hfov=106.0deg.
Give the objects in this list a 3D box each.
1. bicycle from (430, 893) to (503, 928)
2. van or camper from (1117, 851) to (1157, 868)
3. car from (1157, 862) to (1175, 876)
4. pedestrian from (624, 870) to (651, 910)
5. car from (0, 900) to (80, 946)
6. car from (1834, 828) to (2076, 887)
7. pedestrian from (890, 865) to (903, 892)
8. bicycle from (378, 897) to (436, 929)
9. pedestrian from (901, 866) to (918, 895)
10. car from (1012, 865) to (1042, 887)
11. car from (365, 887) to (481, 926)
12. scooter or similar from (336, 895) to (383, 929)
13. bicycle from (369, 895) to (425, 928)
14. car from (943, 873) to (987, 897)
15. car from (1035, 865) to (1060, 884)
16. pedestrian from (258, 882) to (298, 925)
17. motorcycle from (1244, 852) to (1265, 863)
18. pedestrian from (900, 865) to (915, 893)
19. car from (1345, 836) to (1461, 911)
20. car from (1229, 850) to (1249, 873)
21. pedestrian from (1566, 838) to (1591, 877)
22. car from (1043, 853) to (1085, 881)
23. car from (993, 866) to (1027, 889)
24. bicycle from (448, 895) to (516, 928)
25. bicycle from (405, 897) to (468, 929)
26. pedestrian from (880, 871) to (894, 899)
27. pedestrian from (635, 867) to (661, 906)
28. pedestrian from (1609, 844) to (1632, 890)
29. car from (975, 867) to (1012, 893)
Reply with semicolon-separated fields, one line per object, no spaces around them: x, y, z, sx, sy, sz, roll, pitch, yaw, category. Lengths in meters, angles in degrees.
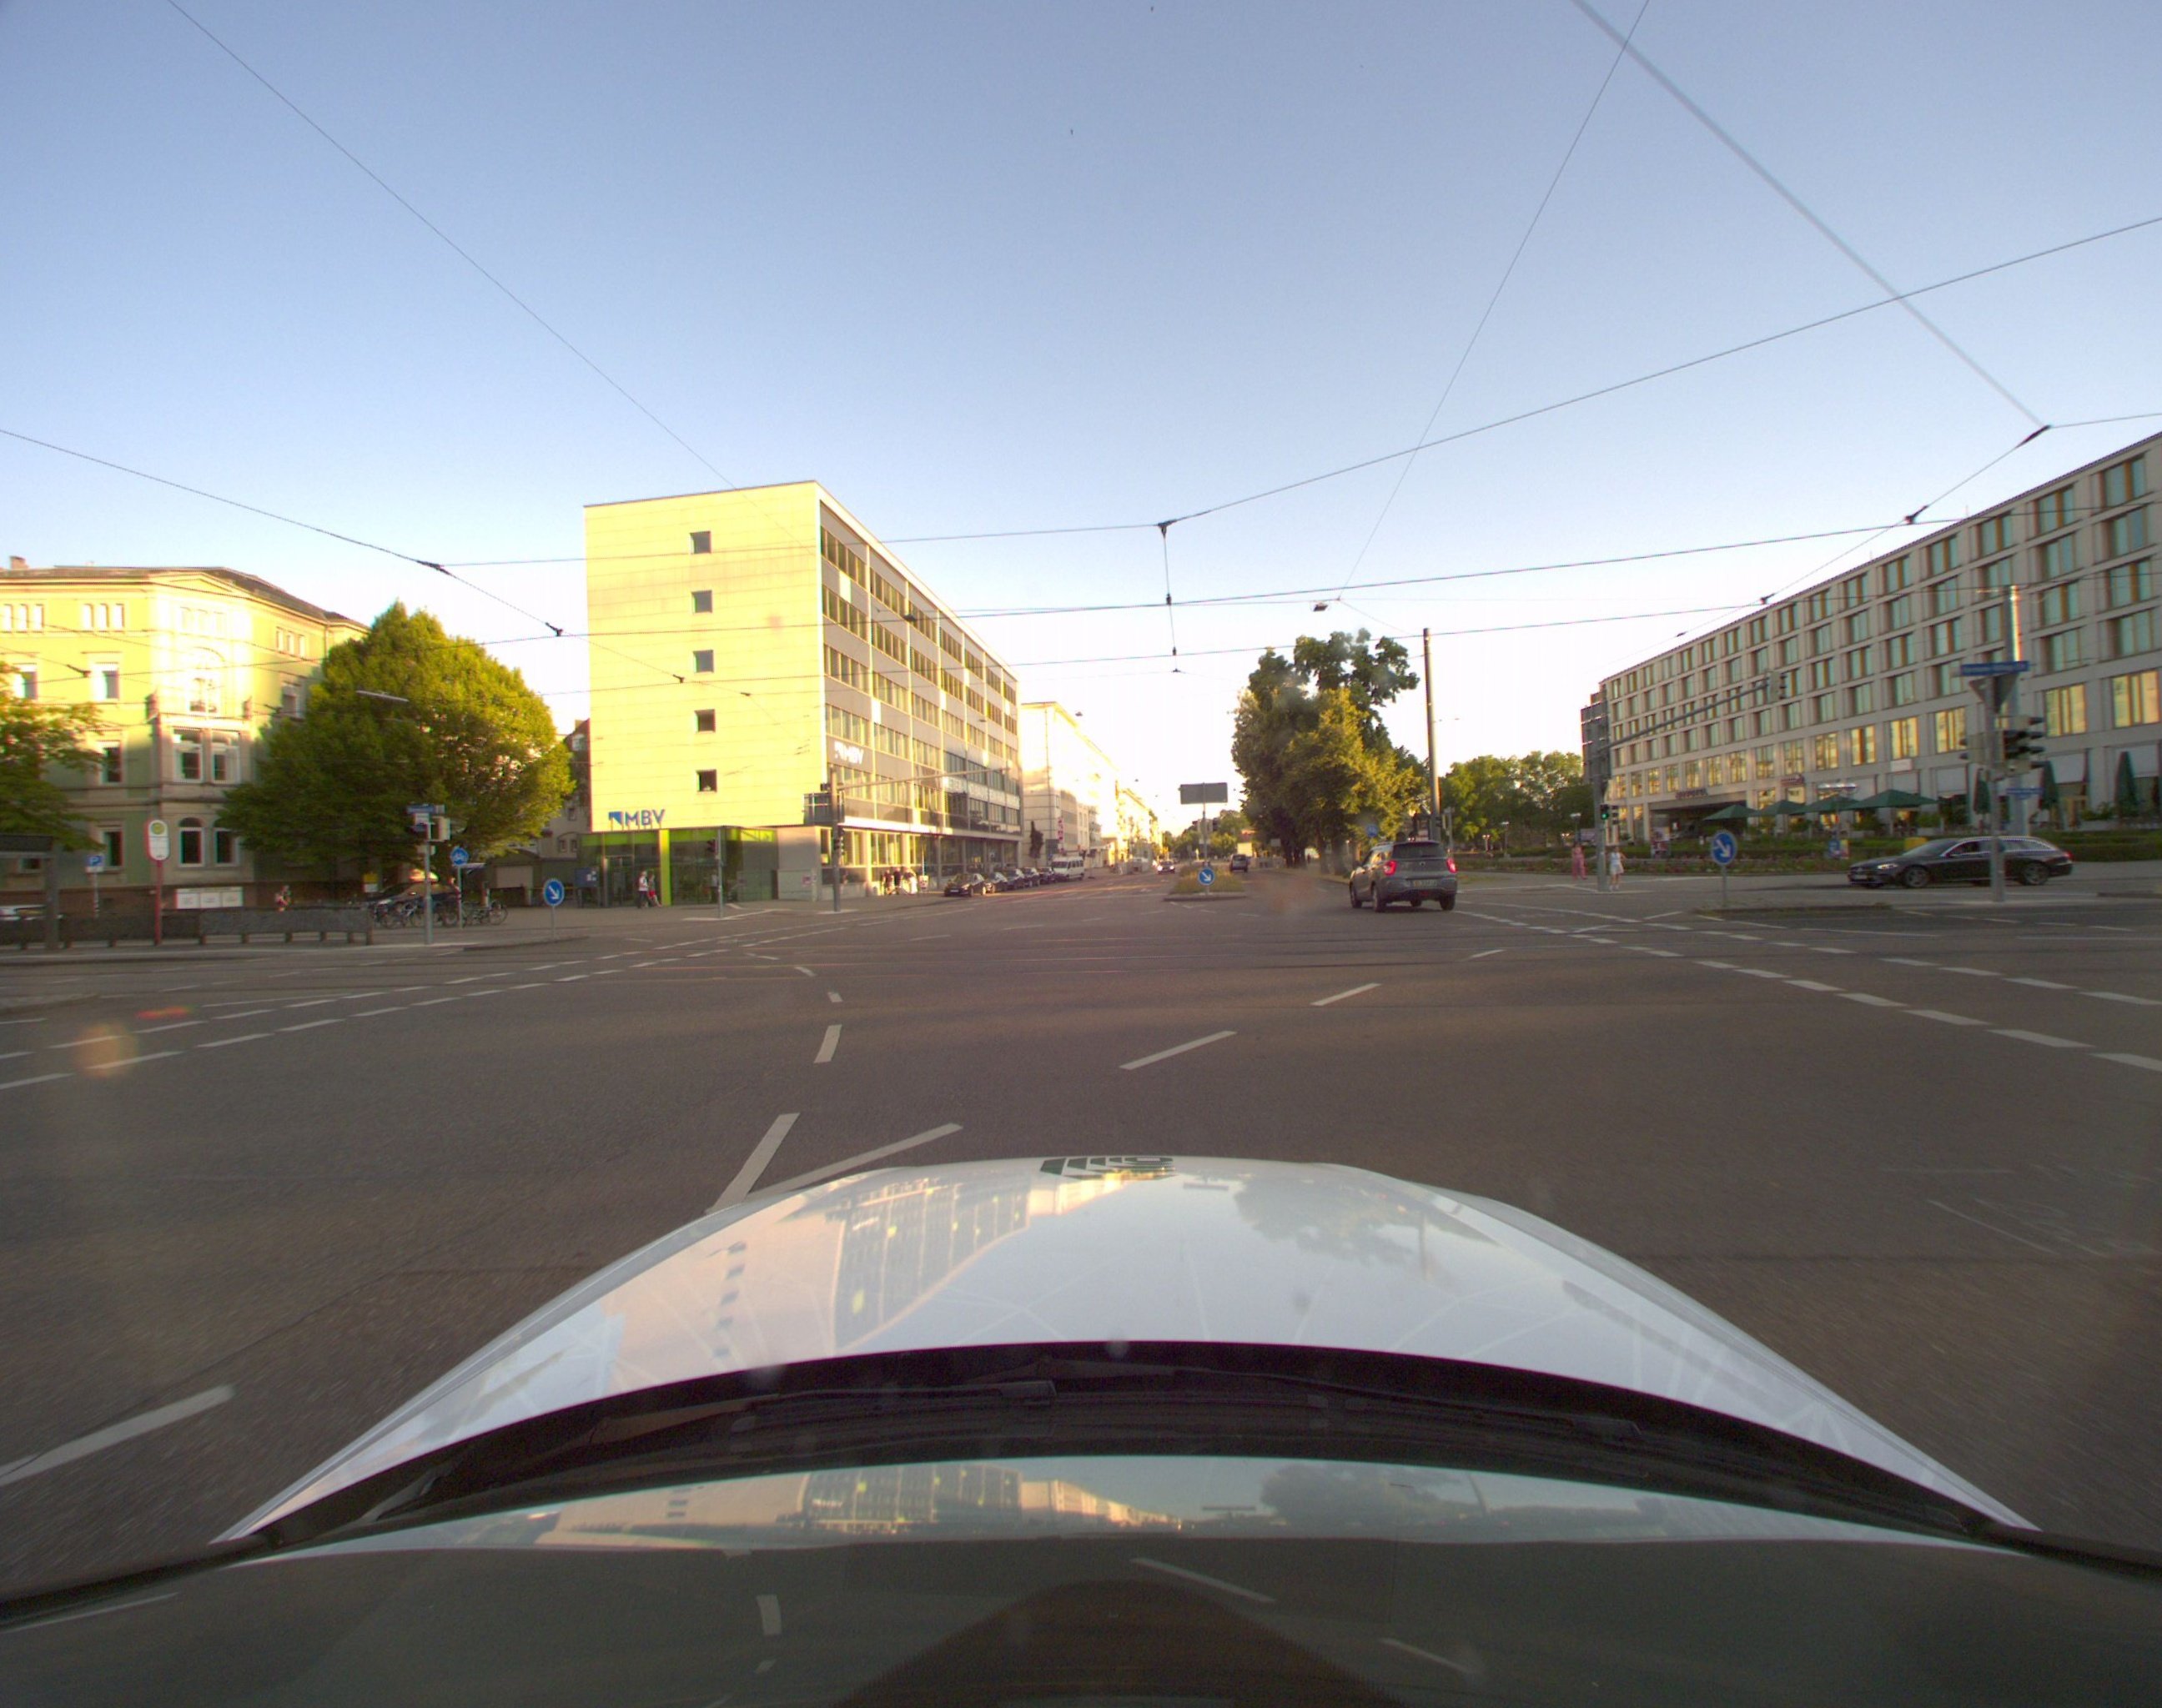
-23.250;2.124;30.874;0.737;1.132;2.244;-2;0;11;bicycle
8.505;0.864;123.001;5.530;2.166;2.228;-4;-1;-22;van or camper
9.397;1.607;89.886;1.682;1.421;4.185;-3;0;10;car
-20.203;1.624;37.101;0.728;1.768;0.710;-2;-1;9;pedestrian
-41.552;2.689;31.228;3.977;1.552;1.684;-2;2;-3;car
26.203;0.140;24.593;4.763;1.523;1.822;-3;-3;11;car
-12.091;1.604;53.370;0.650;1.768;0.647;-2;-1;5;pedestrian
-25.549;2.216;30.900;0.737;1.074;1.561;-2;-1;11;bicycle
-10.998;1.693;52.262;0.837;1.768;0.787;-2;-1;5;pedestrian
-4.506;1.821;68.370;1.683;1.665;3.877;1;0;8;car
-30.796;2.425;38.273;1.787;1.574;4.006;-2;-1;8;car
-28.060;2.247;31.675;0.585;1.225;1.207;-2;1;9;scooter or similar
-26.689;2.238;31.815;0.737;1.163;1.535;-2;-1;10;bicycle
-7.393;1.945;52.140;1.683;1.411;3.877;1;0;8;car
-3.058;1.838;74.599;1.490;1.665;3.877;1;0;9;car
-34.894;2.134;35.387;0.985;1.768;0.707;-2;-1;-7;pedestrian
29.639;0.581;138.994;3.464;1.755;0.928;-3;-1;11;motorcycle
-11.340;1.629;53.262;0.735;1.768;0.674;-2;-1;5;pedestrian
7.855;0.447;20.244;1.684;1.605;4.098;-3;-1;7;car
16.404;0.736;84.607;1.872;2.238;3.921;-3;-1;10;car
21.621;0.158;35.390;0.717;1.626;0.743;-3;-1;41;pedestrian
-1.614;1.305;81.017;2.219;2.629;5.881;1;0;19;car
-5.479;1.806;63.272;1.683;1.665;3.877;1;0;8;car
-22.297;2.126;30.365;0.735;1.074;1.877;-3;0;26;bicycle
-24.201;2.211;30.627;0.737;1.074;1.766;-2;-1;11;bicycle
-12.545;1.979;52.746;0.650;1.768;0.647;-2;-1;5;pedestrian
-20.098;1.487;37.804;0.740;1.768;0.710;-2;-1;9;pedestrian
19.407;0.456;29.290;0.531;1.626;0.631;-3;-1;26;pedestrian
-6.196;1.821;58.001;1.683;1.665;3.877;1;0;8;car
